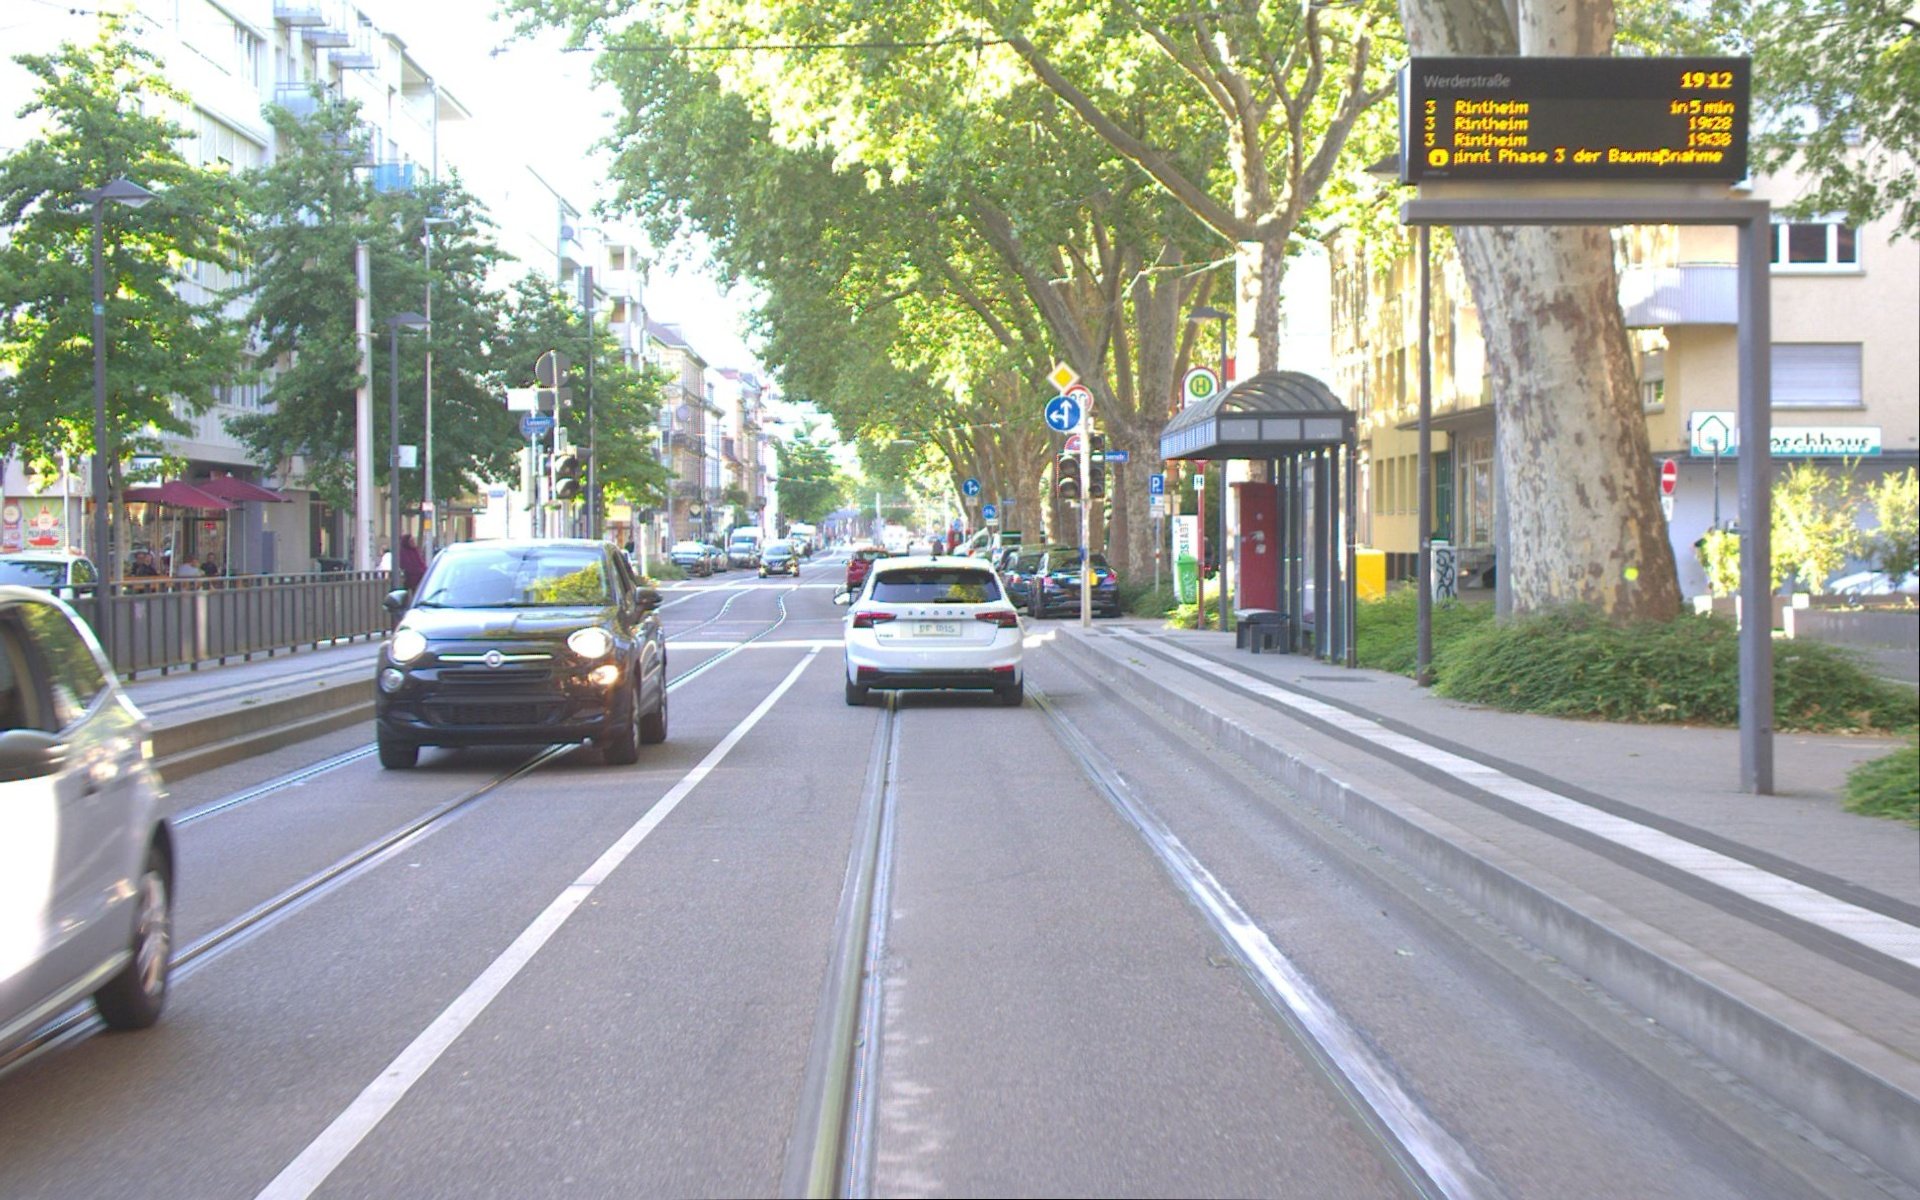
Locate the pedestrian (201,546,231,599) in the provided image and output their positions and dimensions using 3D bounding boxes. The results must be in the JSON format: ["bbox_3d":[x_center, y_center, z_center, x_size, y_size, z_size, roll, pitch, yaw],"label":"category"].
[{"bbox_3d":[-17.066,-0.629,78.897,0.511,1.194,0.564,-1,1,-30],"label":"pedestrian"}]

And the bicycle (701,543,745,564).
[{"bbox_3d":[-14.106,-2.772,204.428,2.524,1.168,0.719,2,-1,-7],"label":"bicycle"}]

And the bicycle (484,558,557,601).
[{"bbox_3d":[-10.515,-0.497,82.244,1.690,1.003,0.658,1,0,-5],"label":"bicycle"}]

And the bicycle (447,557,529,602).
[{"bbox_3d":[-10.797,-0.465,78.669,1.829,1.003,0.658,1,0,-5],"label":"bicycle"}]

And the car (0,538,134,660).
[{"bbox_3d":[-13.183,-0.048,48.953,1.878,1.645,4.358,-1,1,-2],"label":"car"}]

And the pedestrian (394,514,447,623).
[{"bbox_3d":[-7.919,-0.469,50.501,0.654,1.579,0.772,0,1,0],"label":"pedestrian"}]

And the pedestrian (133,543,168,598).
[{"bbox_3d":[-17.732,-0.639,75.304,0.562,1.194,0.513,-1,1,-36],"label":"pedestrian"}]

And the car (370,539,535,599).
[{"bbox_3d":[-13.196,-0.809,89.565,4.012,1.470,1.852,1,0,0],"label":"car"}]

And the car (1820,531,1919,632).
[{"bbox_3d":[17.020,-0.343,59.361,3.861,1.687,1.866,-1,1,-1],"label":"car"}]

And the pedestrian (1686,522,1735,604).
[{"bbox_3d":[15.360,-0.759,70.359,0.700,1.677,0.661,-1,1,-28],"label":"pedestrian"}]

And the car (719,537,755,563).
[{"bbox_3d":[-13.720,-3.086,211.799,1.993,1.525,4.000,0,1,-1],"label":"car"}]

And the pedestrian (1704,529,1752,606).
[{"bbox_3d":[15.467,-0.660,69.256,0.702,1.533,0.689,0,1,40],"label":"pedestrian"}]

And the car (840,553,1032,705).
[{"bbox_3d":[-0.296,0.240,33.981,1.761,1.379,4.001,-1,1,-2],"label":"car"}]

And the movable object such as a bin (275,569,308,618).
[{"bbox_3d":[-12.885,-0.119,66.258,0.538,0.929,0.650,-1,1,-18],"label":"movable object such as a bin"}]

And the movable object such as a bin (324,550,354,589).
[{"bbox_3d":[-16.982,-0.843,93.978,0.678,1.052,0.622,-1,1,1],"label":"movable object such as a bin"}]

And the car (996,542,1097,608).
[{"bbox_3d":[1.948,-0.588,78.535,1.864,1.432,4.227,-1,1,-4],"label":"car"}]

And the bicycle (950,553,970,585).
[{"bbox_3d":[-0.002,-1.061,117.480,0.681,1.067,1.781,-1,1,0],"label":"bicycle"}]

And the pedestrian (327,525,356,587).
[{"bbox_3d":[-16.882,-1.212,93.856,0.663,1.685,0.749,0,1,-2],"label":"pedestrian"}]

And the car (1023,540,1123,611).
[{"bbox_3d":[2.379,-0.551,73.556,1.764,1.457,5.013,0,1,-2],"label":"car"}]

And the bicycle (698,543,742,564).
[{"bbox_3d":[-14.010,-2.708,200.650,2.524,1.168,0.719,2,-1,-7],"label":"bicycle"}]

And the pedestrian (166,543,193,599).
[{"bbox_3d":[-17.021,-0.635,74.961,0.511,1.194,0.564,-1,1,-17],"label":"pedestrian"}]

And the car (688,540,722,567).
[{"bbox_3d":[-13.547,-2.481,182.742,1.653,1.432,3.837,0,1,-2],"label":"car"}]

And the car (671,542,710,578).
[{"bbox_3d":[-13.067,-1.966,167.006,1.702,1.645,4.242,2,1,-3],"label":"car"}]

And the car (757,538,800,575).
[{"bbox_3d":[-8.247,-1.971,156.339,1.871,1.584,4.147,2,1,-3],"label":"car"}]

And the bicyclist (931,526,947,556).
[{"bbox_3d":[-0.939,-2.627,154.031,0.649,1.339,0.934,-1,1,-3],"label":"bicyclist"}]

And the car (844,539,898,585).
[{"bbox_3d":[-2.965,-1.287,114.984,1.761,1.470,4.000,-1,1,-1],"label":"car"}]

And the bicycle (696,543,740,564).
[{"bbox_3d":[-14.058,-2.696,199.792,2.525,1.168,0.883,2,-1,-40],"label":"bicycle"}]

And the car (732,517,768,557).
[{"bbox_3d":[-14.783,-4.438,242.171,2.342,2.851,4.000,0,1,-1],"label":"car"}]

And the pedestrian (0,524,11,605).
[{"bbox_3d":[-19.910,-0.720,70.148,0.747,1.654,0.768,0,1,14],"label":"pedestrian"}]

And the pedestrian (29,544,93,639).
[{"bbox_3d":[-14.767,-0.145,56.495,0.727,1.551,0.724,0,1,42],"label":"pedestrian"}]

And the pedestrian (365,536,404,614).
[{"bbox_3d":[-11.602,-0.503,69.310,0.725,1.551,0.769,-1,1,-6],"label":"pedestrian"}]

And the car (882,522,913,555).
[{"bbox_3d":[-4.461,-4.437,247.046,2.202,2.379,4.000,0,1,-1],"label":"car"}]

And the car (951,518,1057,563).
[{"bbox_3d":[2.564,-3.487,202.039,6.129,2.626,2.529,0,1,-2],"label":"car"}]

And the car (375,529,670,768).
[{"bbox_3d":[-3.096,0.287,24.998,1.761,1.583,4.001,-1,1,-2],"label":"car"}]

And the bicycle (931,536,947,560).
[{"bbox_3d":[-0.931,-2.317,154.023,0.649,1.067,1.583,-1,1,-3],"label":"bicycle"}]

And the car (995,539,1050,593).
[{"bbox_3d":[1.837,-0.992,100.468,1.564,1.514,2.910,-2,0,1],"label":"car"}]

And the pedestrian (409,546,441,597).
[{"bbox_3d":[-13.619,-0.723,87.476,0.712,1.293,0.912,-1,1,-15],"label":"pedestrian"}]

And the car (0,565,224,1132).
[{"bbox_3d":[-3.344,0.639,9.562,1.761,1.421,4.000,-1,1,-1],"label":"car"}]

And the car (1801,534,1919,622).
[{"bbox_3d":[18.143,-0.444,65.291,3.861,1.547,1.866,-1,4,-1],"label":"car"}]

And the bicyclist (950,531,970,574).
[{"bbox_3d":[-0.009,-1.625,117.411,0.678,1.438,1.047,-1,1,0],"label":"bicyclist"}]

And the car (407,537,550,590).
[{"bbox_3d":[-14.136,-1.076,101.180,4.012,1.470,1.852,1,0,-3],"label":"car"}]
